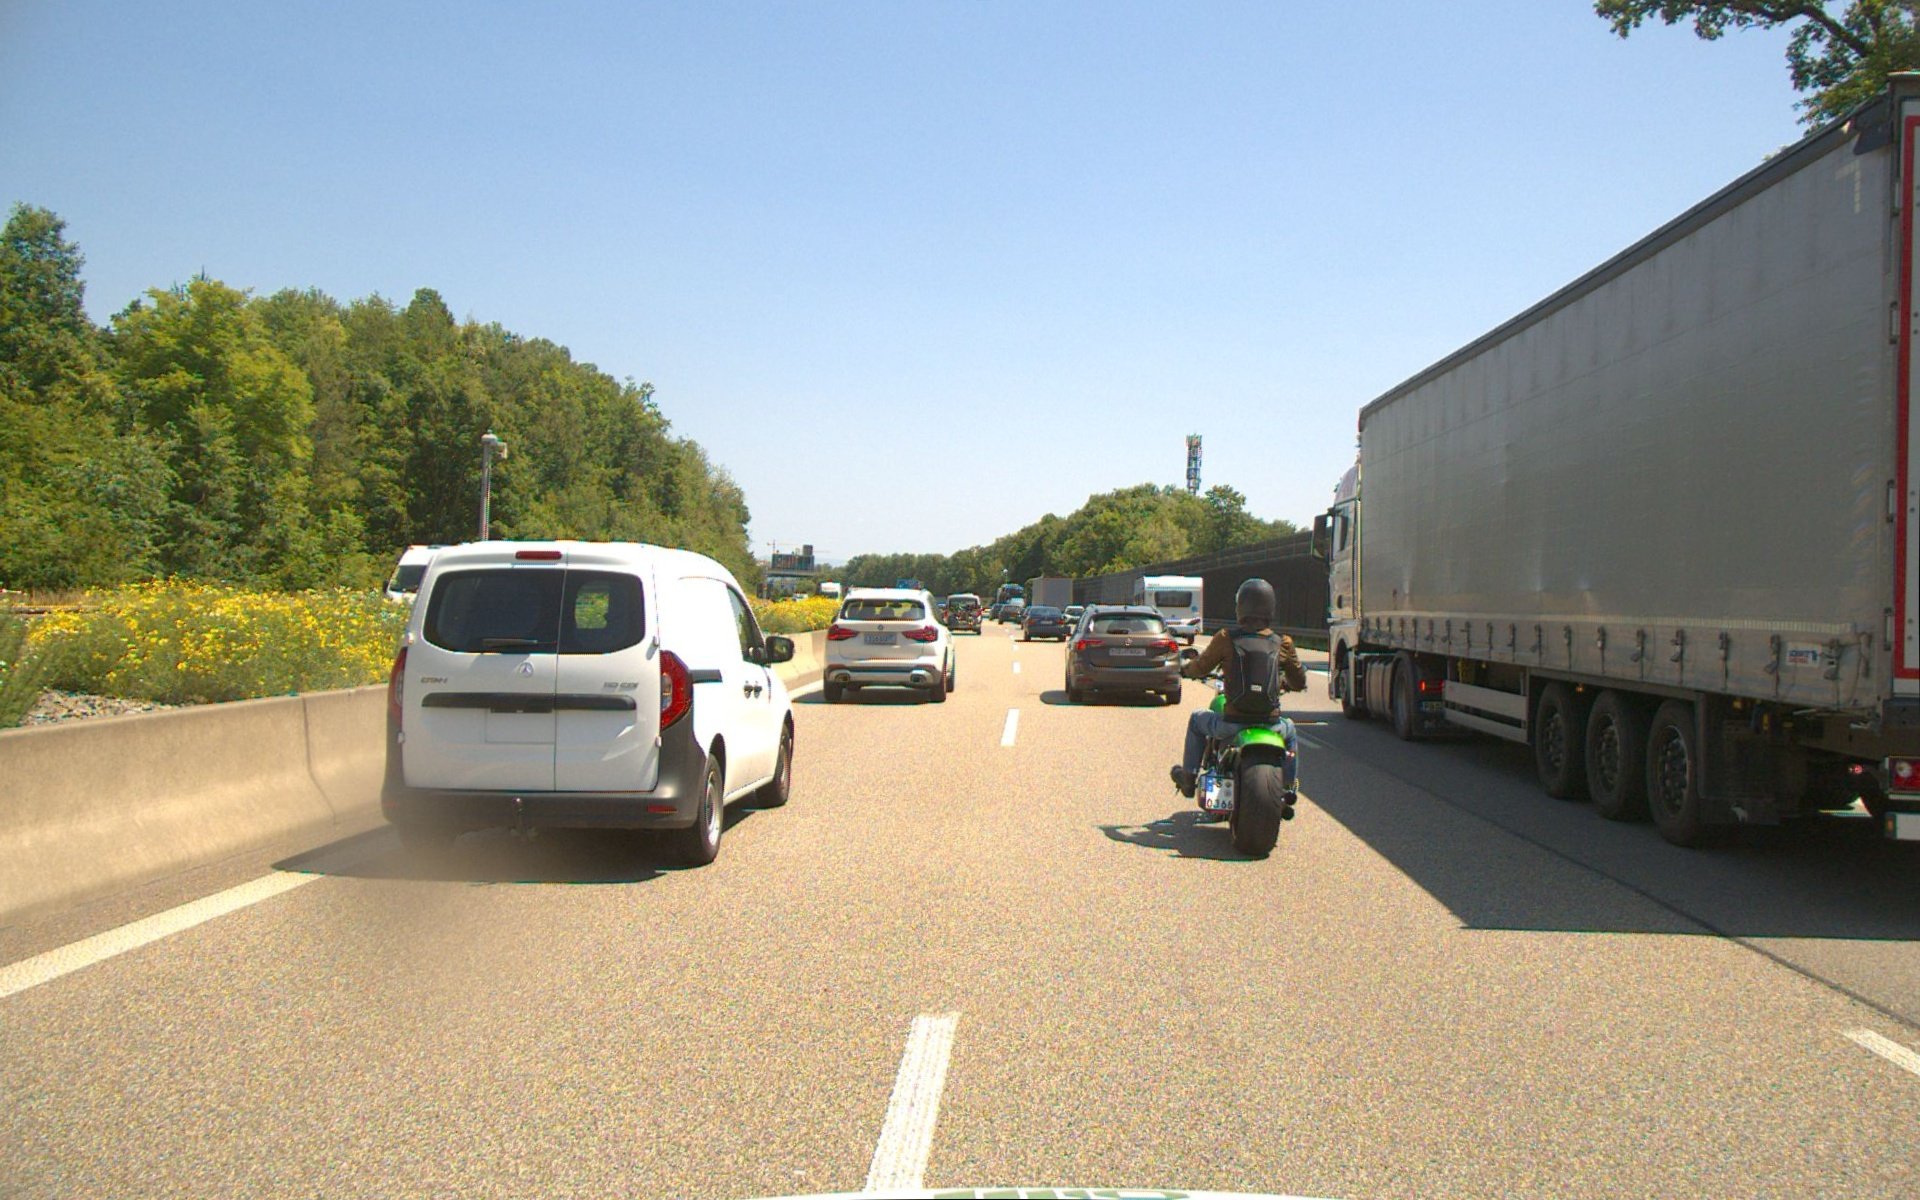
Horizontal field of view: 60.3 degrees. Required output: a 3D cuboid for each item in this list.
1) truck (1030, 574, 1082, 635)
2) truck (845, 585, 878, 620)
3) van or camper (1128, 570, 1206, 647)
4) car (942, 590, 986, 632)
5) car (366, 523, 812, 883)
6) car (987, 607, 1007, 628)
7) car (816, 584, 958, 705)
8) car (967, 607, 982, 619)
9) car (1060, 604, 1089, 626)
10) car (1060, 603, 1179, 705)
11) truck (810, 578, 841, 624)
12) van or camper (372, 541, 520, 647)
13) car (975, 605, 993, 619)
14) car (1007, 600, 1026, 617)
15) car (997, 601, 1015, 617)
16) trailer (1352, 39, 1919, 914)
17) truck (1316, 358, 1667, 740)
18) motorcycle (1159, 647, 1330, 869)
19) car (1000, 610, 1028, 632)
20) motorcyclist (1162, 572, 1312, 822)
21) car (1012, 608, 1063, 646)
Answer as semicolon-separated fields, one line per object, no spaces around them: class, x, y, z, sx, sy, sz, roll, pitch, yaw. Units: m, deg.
truck;8.266;0.501;143.708;3.725;5.047;8.947;1;-1;-1
truck;-6.707;0.165;113.110;1.799;2.265;6.196;1;0;0
van or camper;8.153;0.412;65.799;2.629;2.862;6.805;1;-1;3
car;0.217;0.533;78.731;1.859;1.906;4.413;1;-1;2
car;-2.141;0.547;10.947;1.728;1.844;4.675;1;0;2
car;3.676;1.744;164.119;1.872;2.049;3.690;1;-1;0
car;-1.059;0.659;26.435;1.825;1.724;4.957;1;0;2
car;1.882;1.685;216.212;1.795;1.522;3.742;1;-1;-1
car;8.569;1.135;123.746;1.952;1.602;4.000;1;-1;1
car;2.477;0.845;26.359;1.628;1.478;3.869;1;-1;2
truck;-16.840;0.168;208.110;3.411;5.369;10.011;1;-2;-3
van or camper;-14.402;-0.156;46.766;2.042;2.748;6.154;1;0;2
car;2.694;1.358;186.323;1.795;1.522;3.742;1;-1;-1
car;6.581;1.002;192.788;2.065;1.909;3.999;1;-1;0
car;5.501;1.098;198.035;2.064;1.909;4.000;1;-1;1
trailer;6.203;-0.533;14.590;2.825;4.109;13.799;1;0;3
truck;6.571;-0.566;21.446;2.825;4.219;5.988;1;0;3
motorcycle;1.865;0.941;10.876;0.944;1.168;2.814;1;0;10
car;4.402;1.714;134.760;1.954;1.669;3.997;1;-1;-3
motorcyclist;1.842;0.604;10.981;0.880;1.501;1.873;1;-1;10
car;3.100;1.104;66.173;1.952;1.455;3.848;1;-1;3
